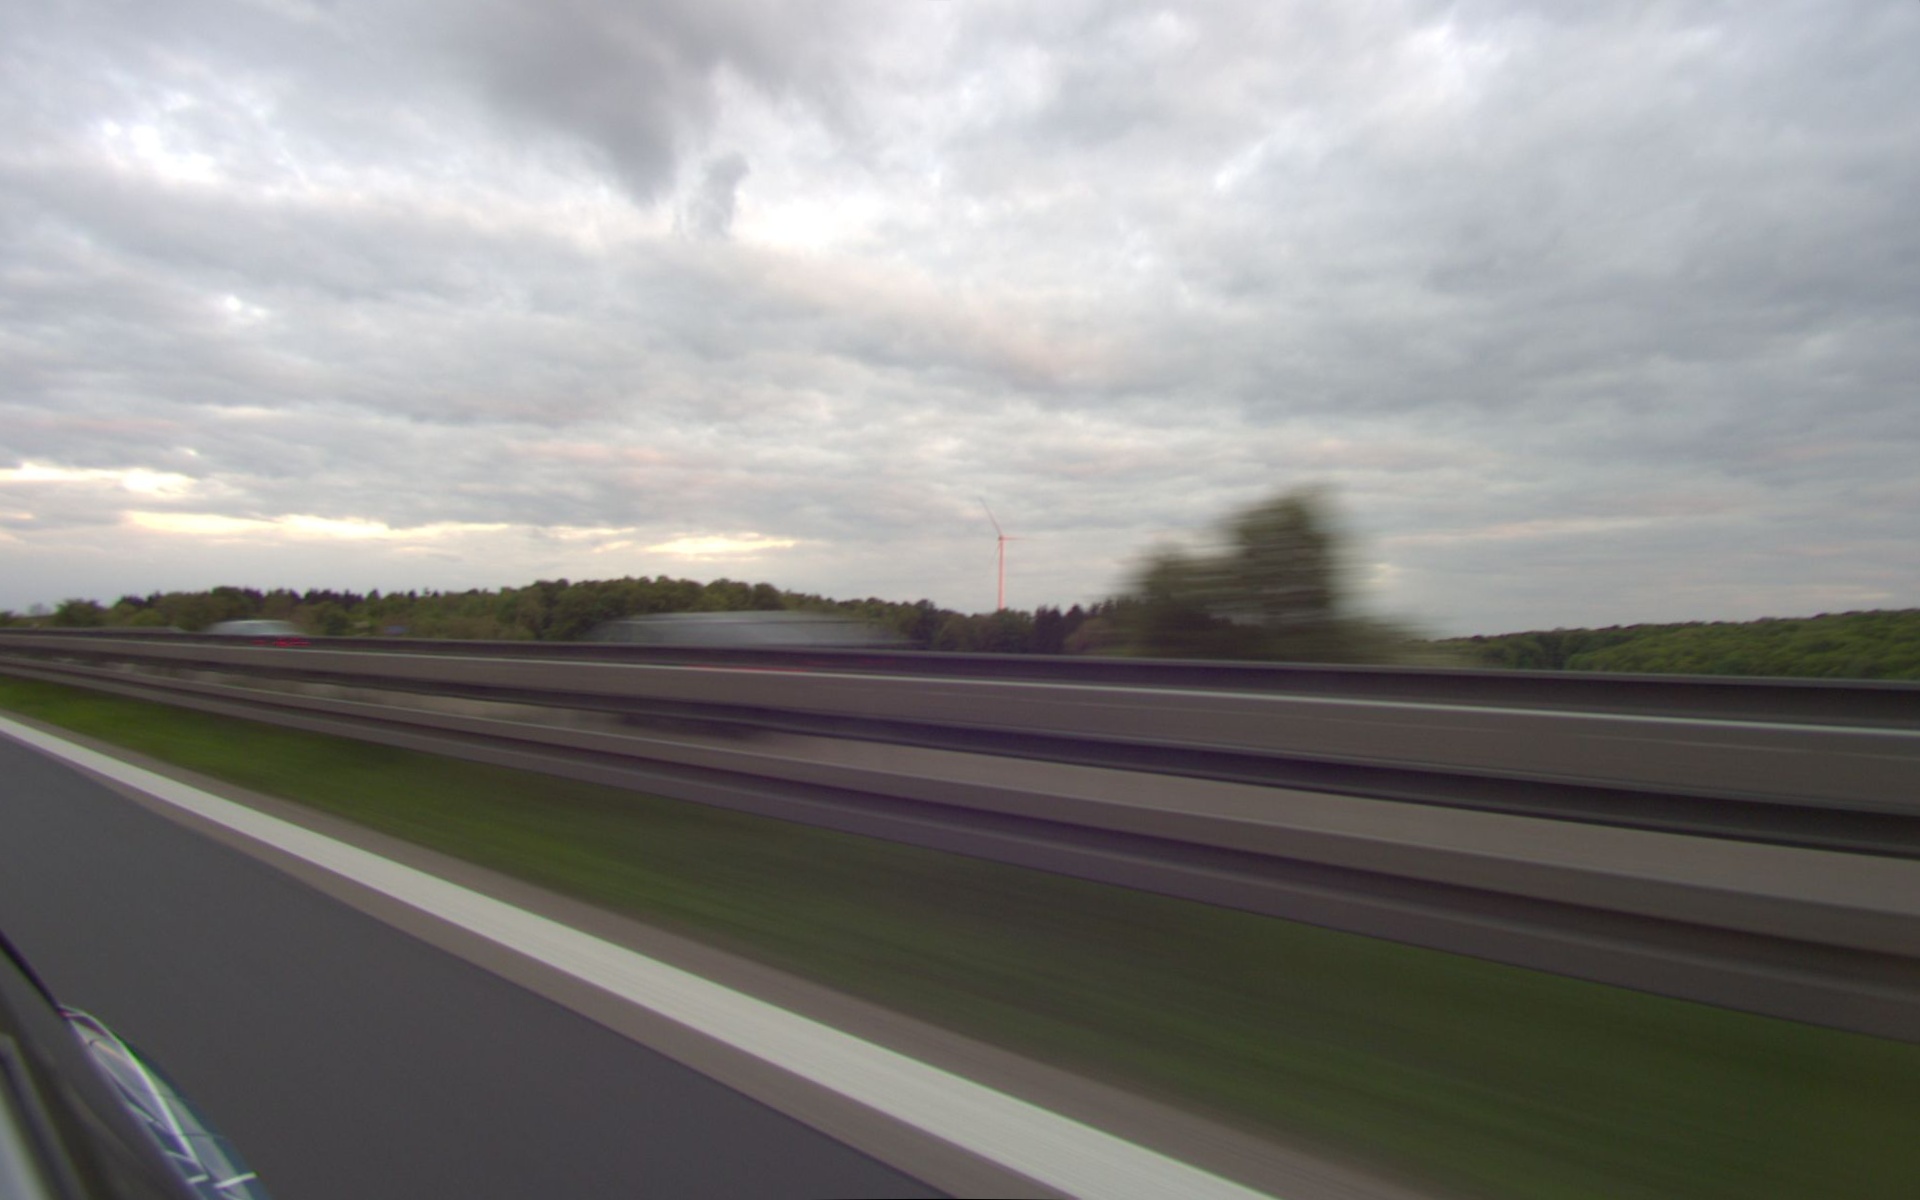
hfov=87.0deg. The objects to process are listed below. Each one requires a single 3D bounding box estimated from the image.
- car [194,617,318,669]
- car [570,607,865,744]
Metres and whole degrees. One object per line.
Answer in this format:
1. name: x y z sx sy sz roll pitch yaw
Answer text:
1. car: -22.099 1.335 31.719 4.724 1.522 1.897 -1 -3 39
2. car: -3.419 0.902 13.758 4.467 1.567 1.615 -1 -1 41
